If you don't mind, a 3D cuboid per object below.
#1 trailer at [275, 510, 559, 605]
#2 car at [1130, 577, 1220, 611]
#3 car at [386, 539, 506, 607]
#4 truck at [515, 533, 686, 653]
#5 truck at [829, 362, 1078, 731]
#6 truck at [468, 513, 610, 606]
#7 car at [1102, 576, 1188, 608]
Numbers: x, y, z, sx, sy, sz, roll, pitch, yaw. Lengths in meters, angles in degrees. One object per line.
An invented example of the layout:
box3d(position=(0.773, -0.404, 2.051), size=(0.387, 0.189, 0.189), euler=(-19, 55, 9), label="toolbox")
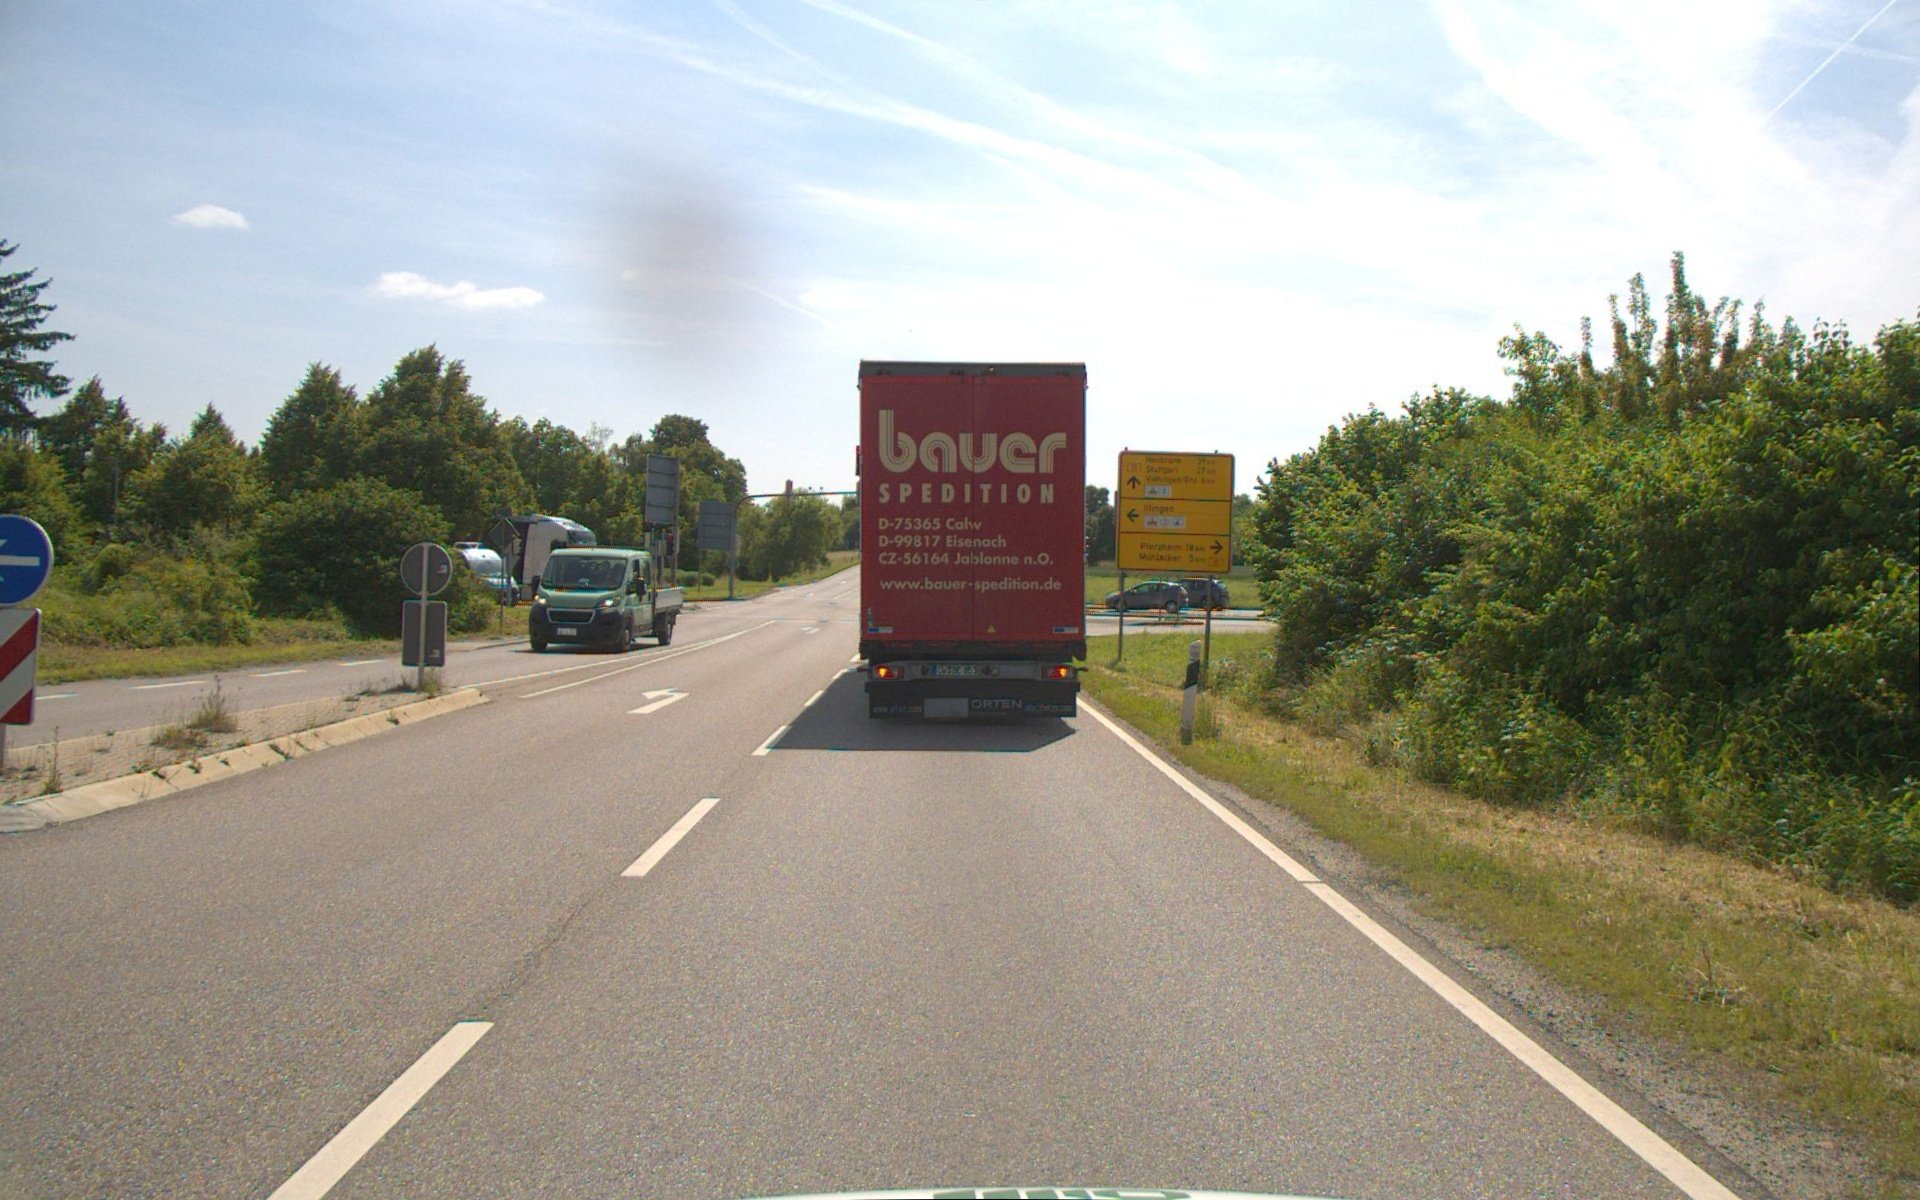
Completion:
box3d(position=(-25.610, -2.050, 77.848), size=(13.395, 4.131, 2.800), euler=(1, 1, 16), label="trailer")
box3d(position=(10.903, -0.304, 84.073), size=(4.196, 1.685, 1.695), euler=(1, 0, 32), label="car")
box3d(position=(-21.899, -1.173, 70.356), size=(5.879, 2.700, 2.112), euler=(2, 0, 42), label="car")
box3d(position=(-7.924, -0.164, 37.217), size=(2.195, 2.416, 6.352), euler=(2, 0, 2), label="truck")
box3d(position=(-0.300, -0.704, 26.371), size=(2.679, 3.993, 16.621), euler=(1, 1, -2), label="truck")
box3d(position=(-19.319, -1.881, 75.959), size=(5.703, 4.132, 2.800), euler=(1, 1, 17), label="truck")
box3d(position=(8.897, -0.371, 79.350), size=(3.902, 1.454, 2.002), euler=(1, 0, 12), label="car")
